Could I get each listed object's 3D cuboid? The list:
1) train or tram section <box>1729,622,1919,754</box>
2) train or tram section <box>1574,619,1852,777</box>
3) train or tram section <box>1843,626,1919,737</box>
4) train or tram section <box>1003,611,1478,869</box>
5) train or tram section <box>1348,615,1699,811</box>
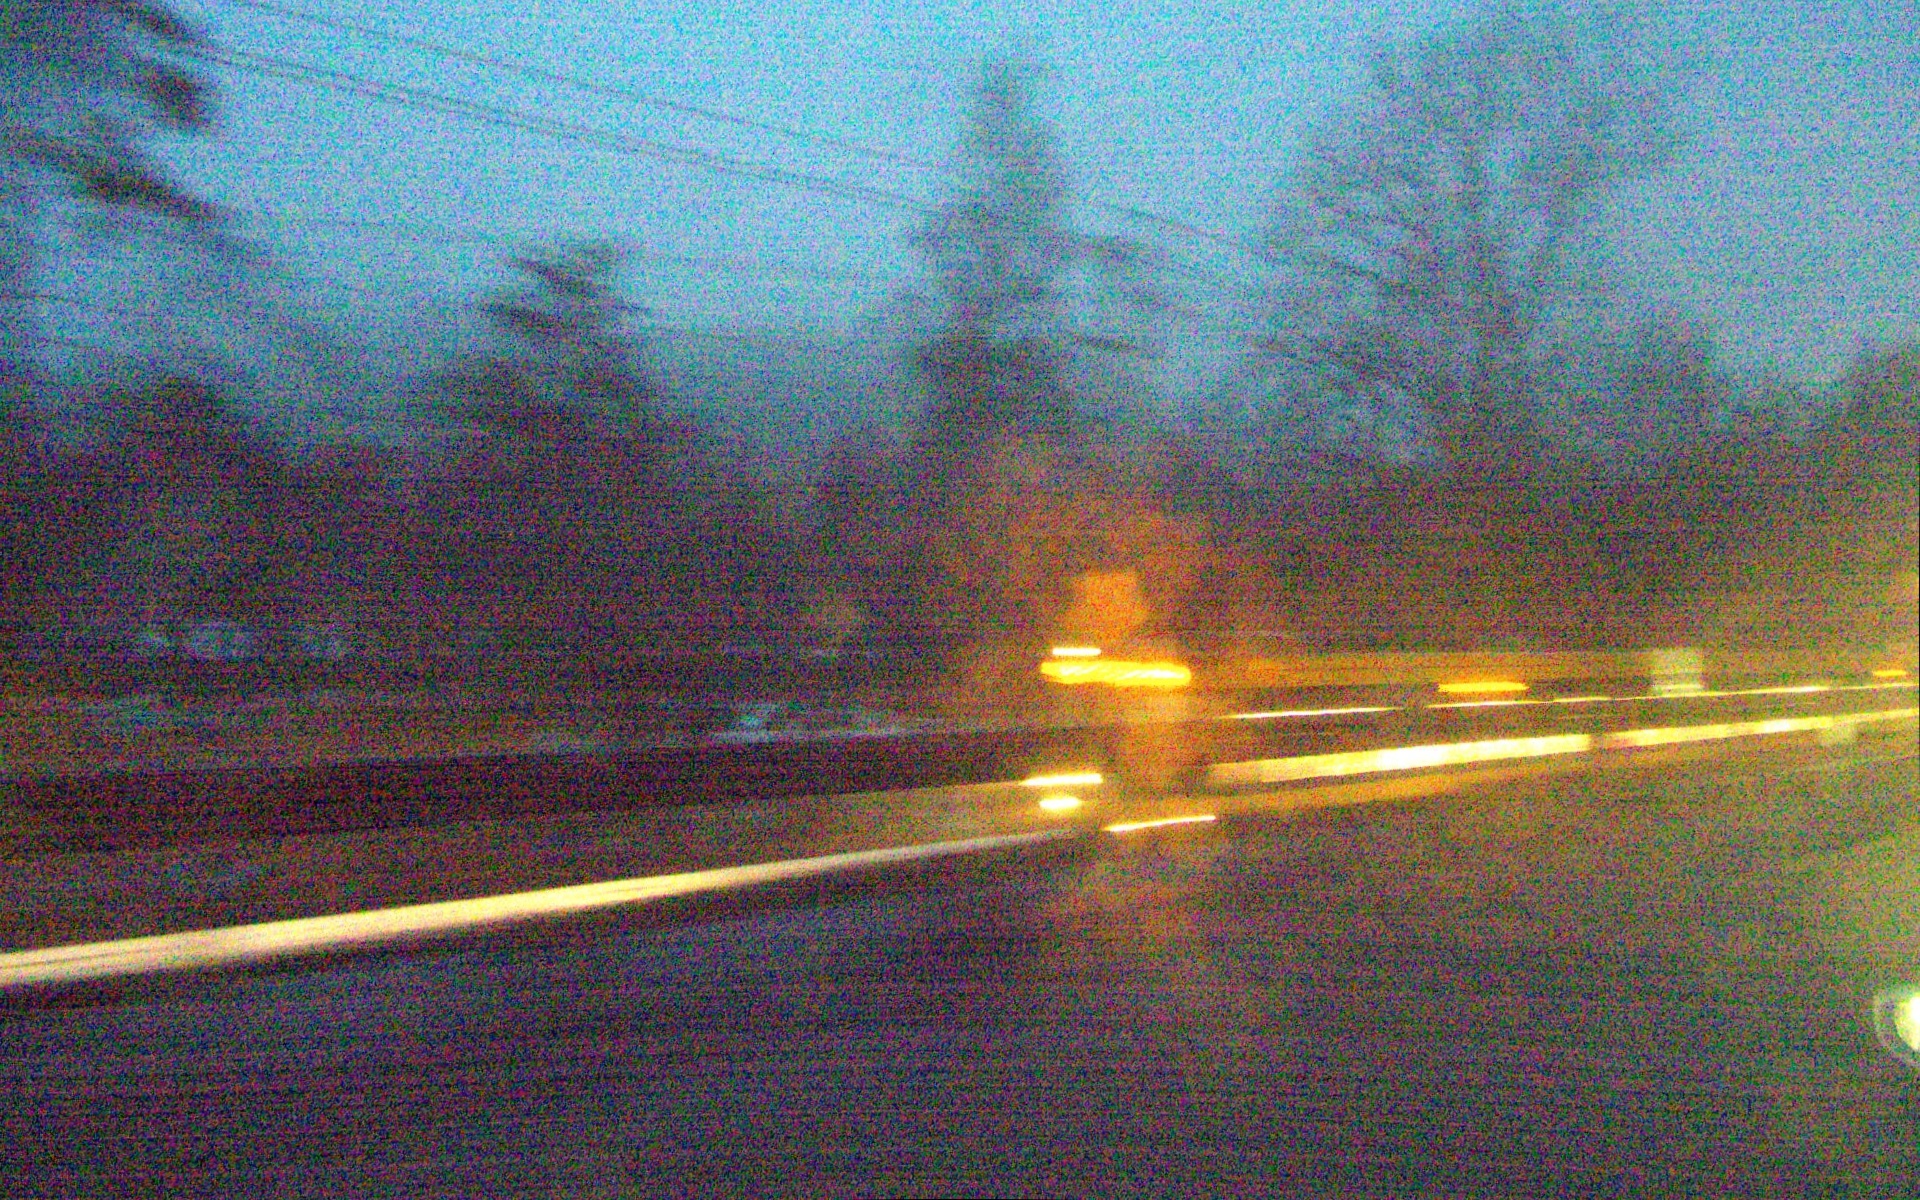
[{"bbox_3d":[26.853,2.464,30.409,8.455,3.506,2.829,1,-1,-31],"label":"train or tram section"},{"bbox_3d":[19.603,2.302,25.962,8.455,3.506,2.829,1,-1,-31],"label":"train or tram section"},{"bbox_3d":[34.056,2.718,34.806,8.455,3.506,2.829,1,-1,-31],"label":"train or tram section"},{"bbox_3d":[5.031,2.007,17.161,8.455,3.506,2.829,1,-1,-31],"label":"train or tram section"},{"bbox_3d":[12.298,2.143,21.604,8.455,3.506,2.829,1,-1,-31],"label":"train or tram section"}]
